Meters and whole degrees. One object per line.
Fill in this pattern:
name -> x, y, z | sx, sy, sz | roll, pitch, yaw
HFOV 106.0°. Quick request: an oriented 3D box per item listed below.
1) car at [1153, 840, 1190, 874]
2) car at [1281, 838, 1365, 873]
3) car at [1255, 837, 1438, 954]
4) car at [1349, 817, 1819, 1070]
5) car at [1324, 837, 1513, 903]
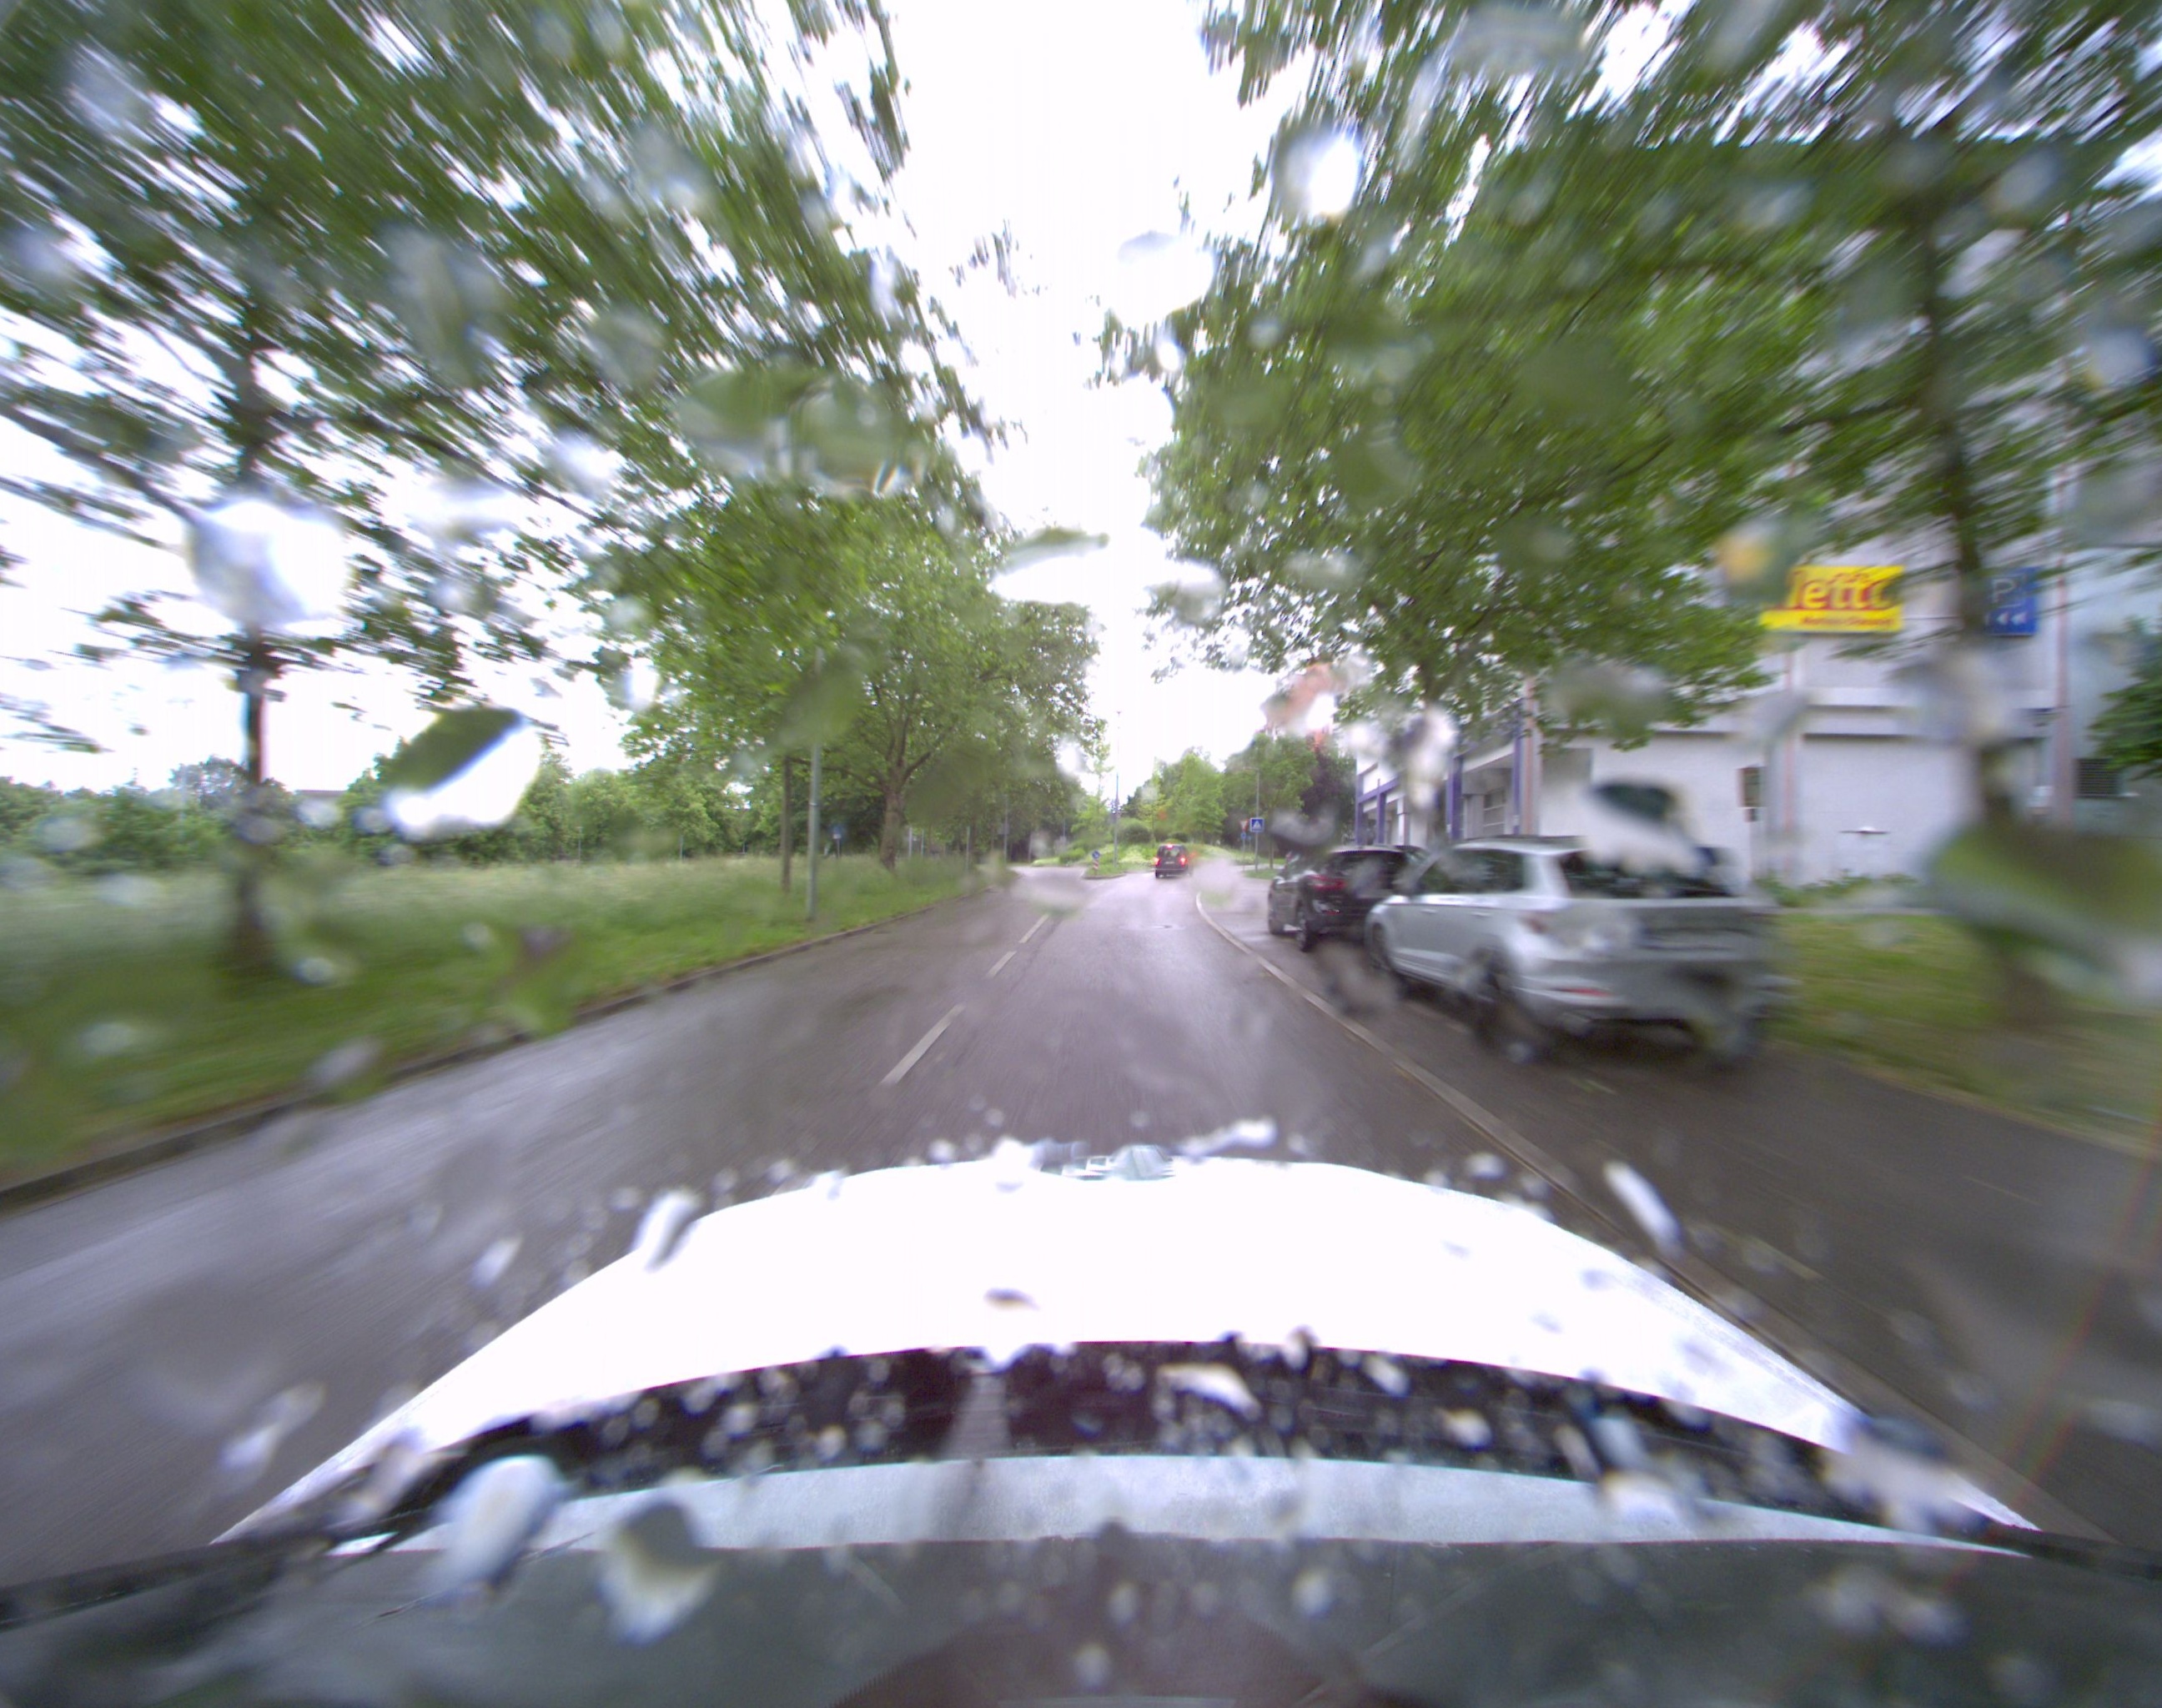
car -> 5.021, 0.171, 45.505 | 1.910, 1.801, 3.794 | -1, 0, 4
car -> 13.677, 0.080, 46.244 | 4.353, 1.759, 1.834 | 2, 2, 8
car -> 4.099, 0.583, 13.343 | 1.794, 1.602, 4.374 | 0, 0, 3
car -> 3.913, 0.586, 7.346 | 1.721, 1.591, 4.255 | -1, 0, 2
car -> 9.133, 0.396, 22.304 | 4.451, 1.680, 1.769 | 1, 1, 3
